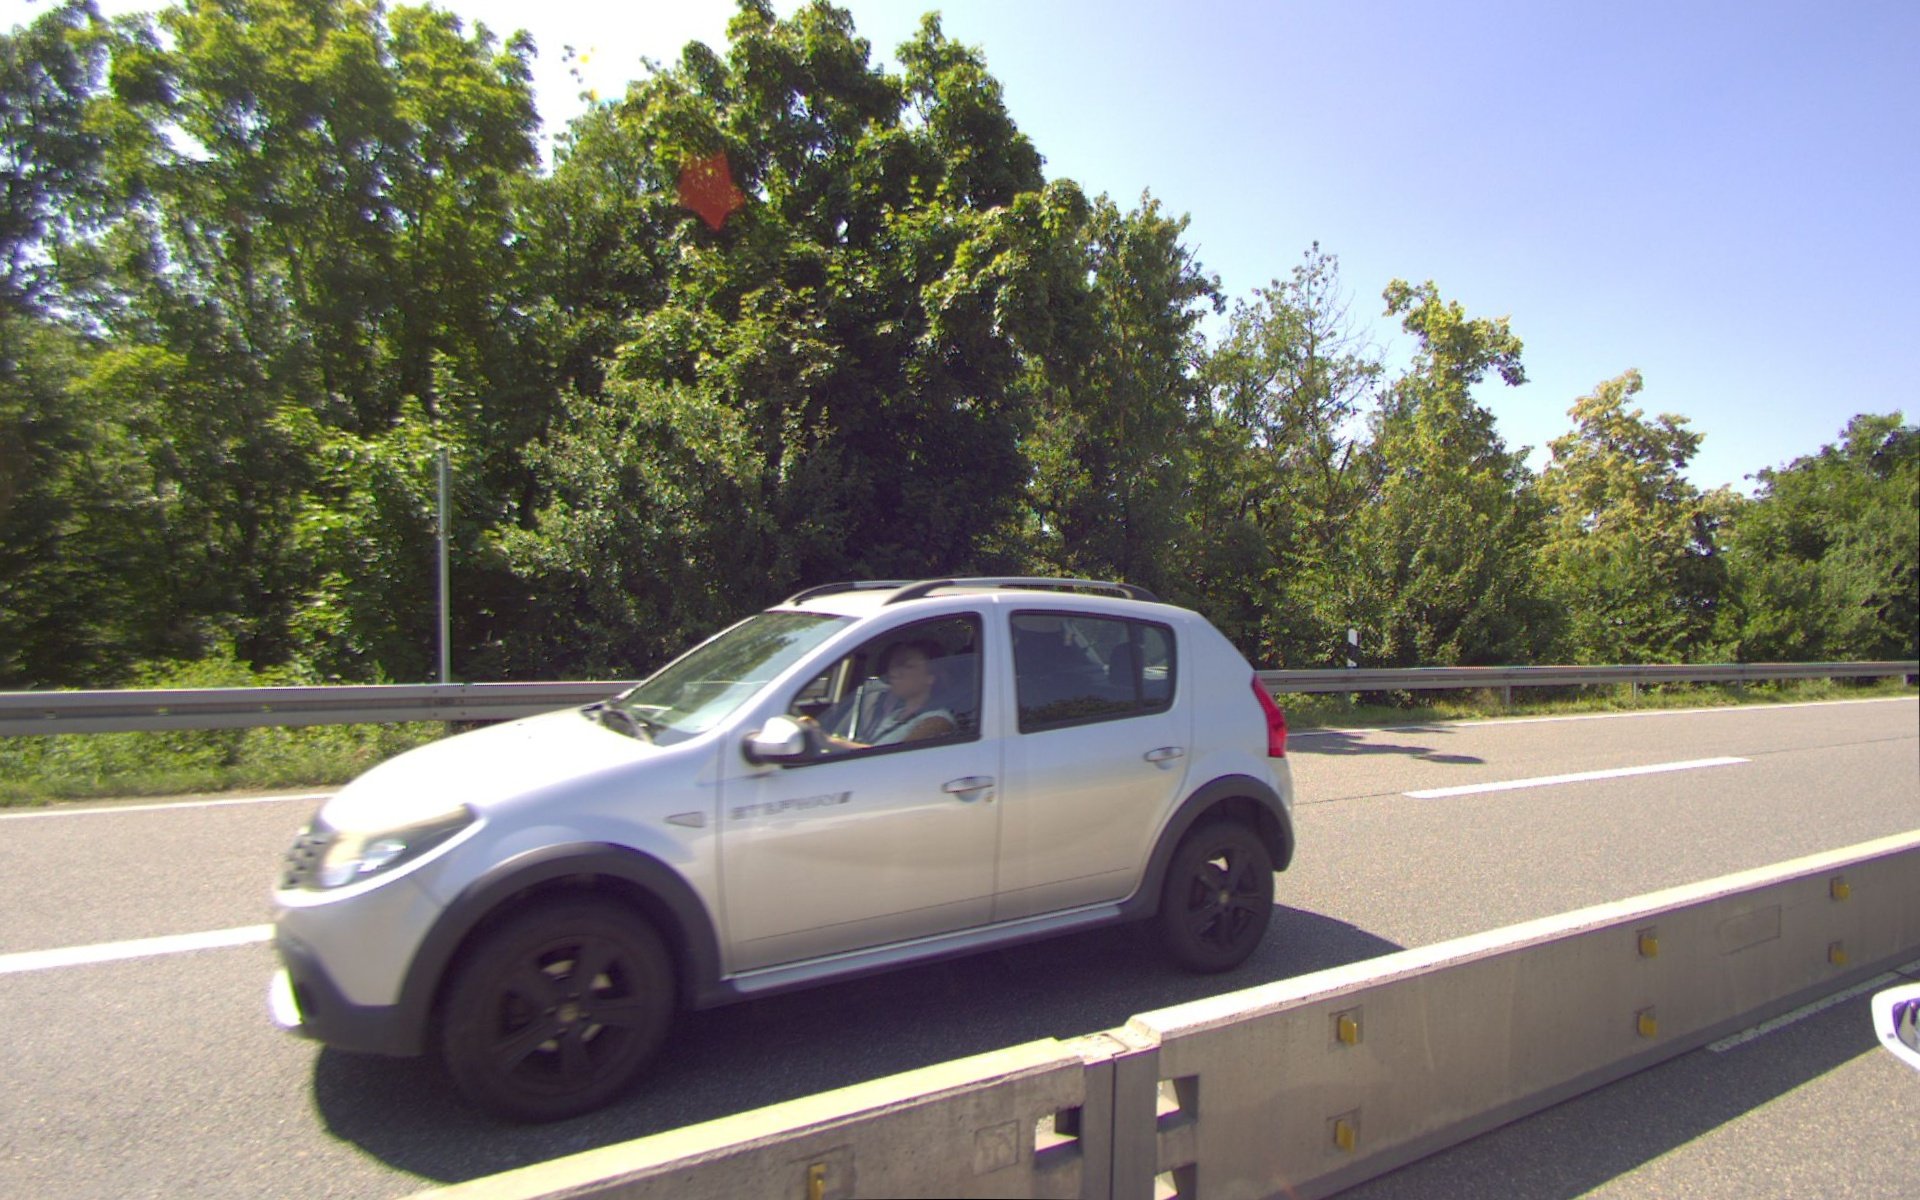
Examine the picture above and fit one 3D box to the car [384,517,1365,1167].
[{"bbox_3d":[-0.275,0.676,4.298,3.740,1.651,1.820,2,-1,-30],"label":"car"}]
